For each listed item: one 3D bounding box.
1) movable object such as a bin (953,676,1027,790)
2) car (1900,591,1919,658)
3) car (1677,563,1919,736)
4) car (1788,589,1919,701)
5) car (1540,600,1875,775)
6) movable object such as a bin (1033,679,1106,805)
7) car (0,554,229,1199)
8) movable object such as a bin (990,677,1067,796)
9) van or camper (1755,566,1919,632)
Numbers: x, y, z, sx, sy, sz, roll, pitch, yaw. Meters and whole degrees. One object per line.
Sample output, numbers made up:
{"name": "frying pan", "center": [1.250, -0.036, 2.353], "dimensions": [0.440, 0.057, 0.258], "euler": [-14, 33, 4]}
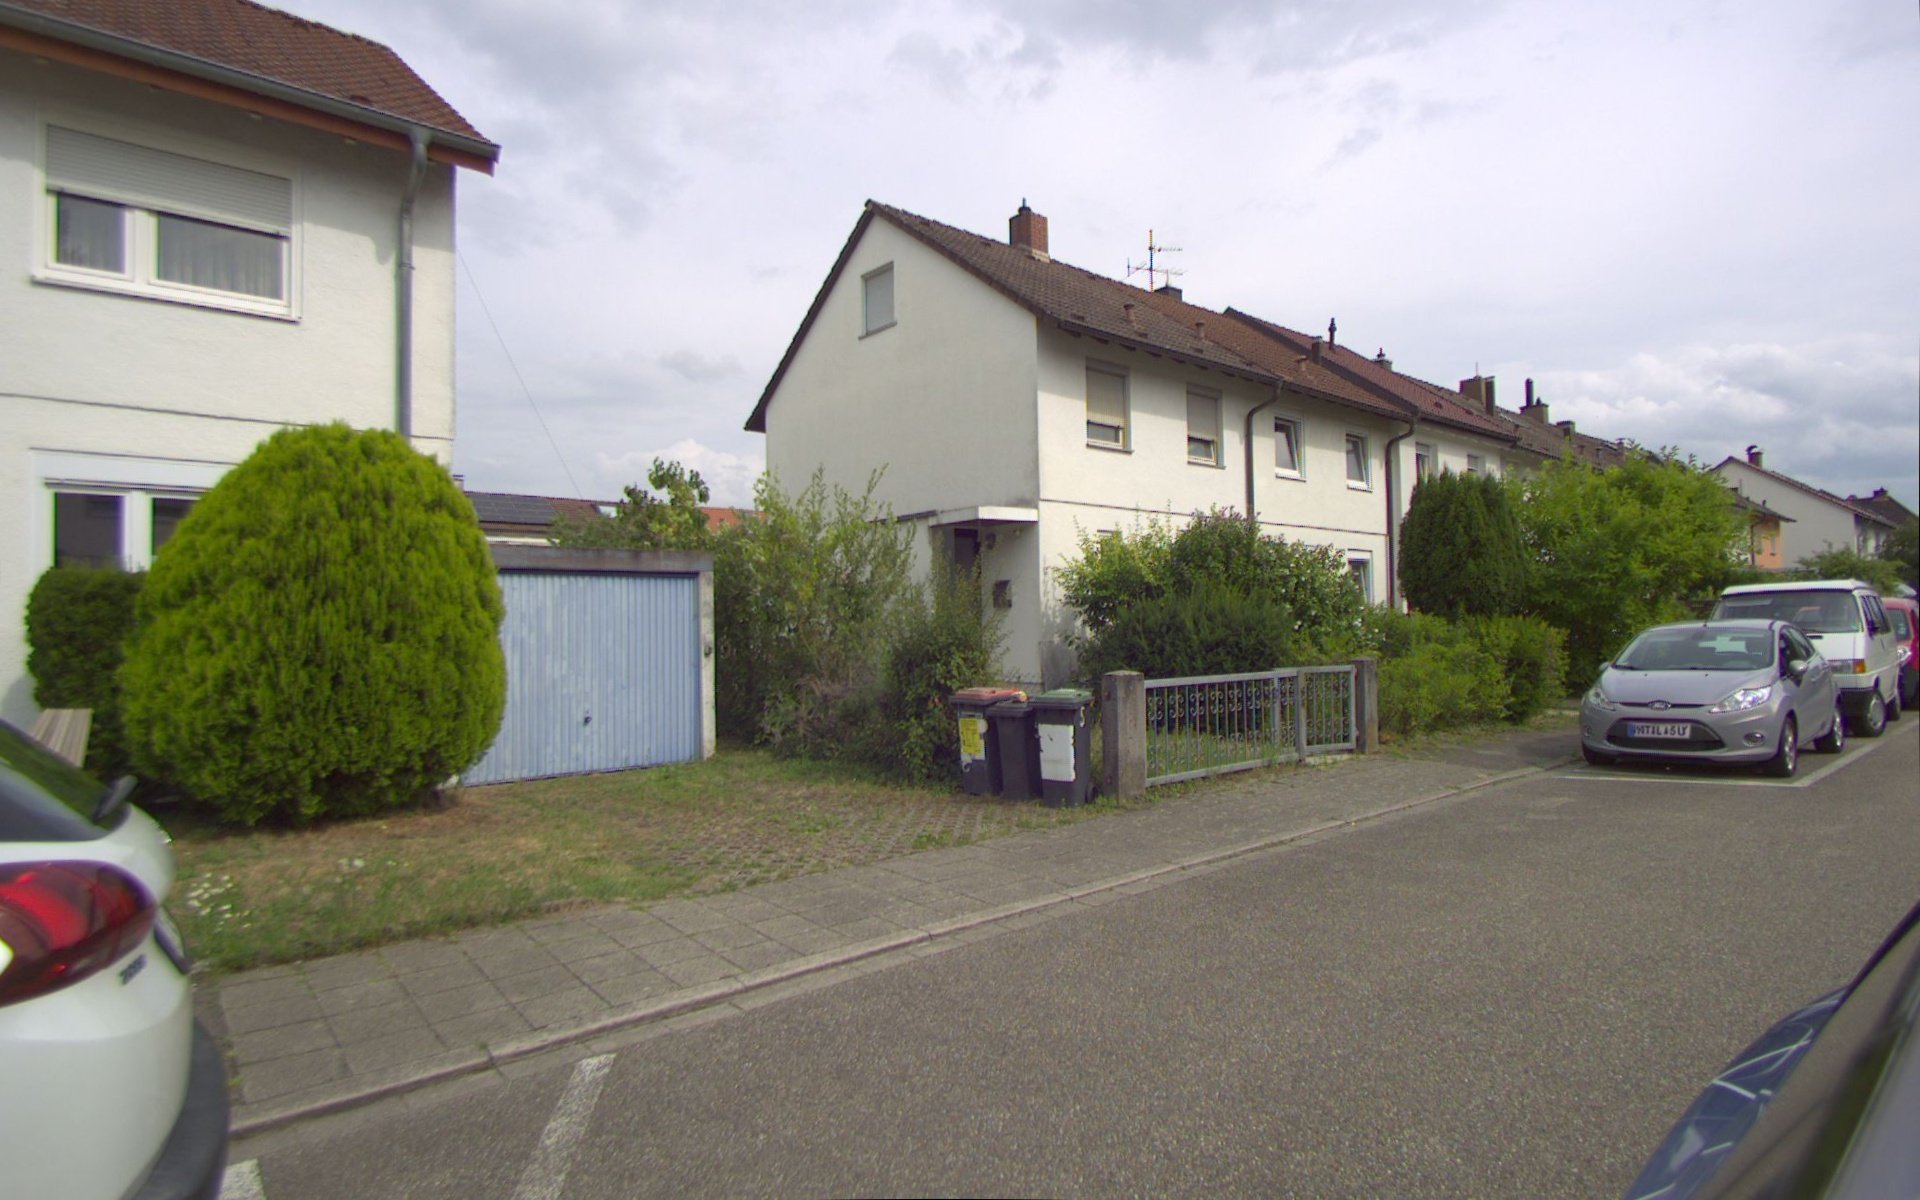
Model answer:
{"name": "movable object such as a bin", "center": [0.264, 1.149, 8.872], "dimensions": [0.457, 0.933, 0.431], "euler": [1, -3, -45]}
{"name": "car", "center": [25.912, 0.595, 26.248], "dimensions": [4.388, 1.675, 1.869], "euler": [0, -2, -42]}
{"name": "car", "center": [11.678, 0.576, 13.913], "dimensions": [4.666, 1.972, 2.023], "euler": [0, -1, -43]}
{"name": "car", "center": [15.450, 0.681, 17.056], "dimensions": [4.337, 1.672, 1.811], "euler": [0, -1, -44]}
{"name": "car", "center": [7.918, 0.751, 10.592], "dimensions": [4.056, 1.478, 1.904], "euler": [0, -1, -40]}
{"name": "movable object such as a bin", "center": [0.875, 1.117, 8.121], "dimensions": [0.414, 0.933, 0.407], "euler": [1, -2, -45]}
{"name": "car", "center": [-3.153, 0.758, 0.916], "dimensions": [3.905, 1.564, 1.715], "euler": [0, -3, -42]}
{"name": "movable object such as a bin", "center": [0.578, 1.130, 8.536], "dimensions": [0.457, 0.933, 0.431], "euler": [1, -3, -45]}
{"name": "van or camper", "center": [40.494, -0.008, 46.544], "dimensions": [2.492, 2.854, 5.808], "euler": [0, -1, -40]}
